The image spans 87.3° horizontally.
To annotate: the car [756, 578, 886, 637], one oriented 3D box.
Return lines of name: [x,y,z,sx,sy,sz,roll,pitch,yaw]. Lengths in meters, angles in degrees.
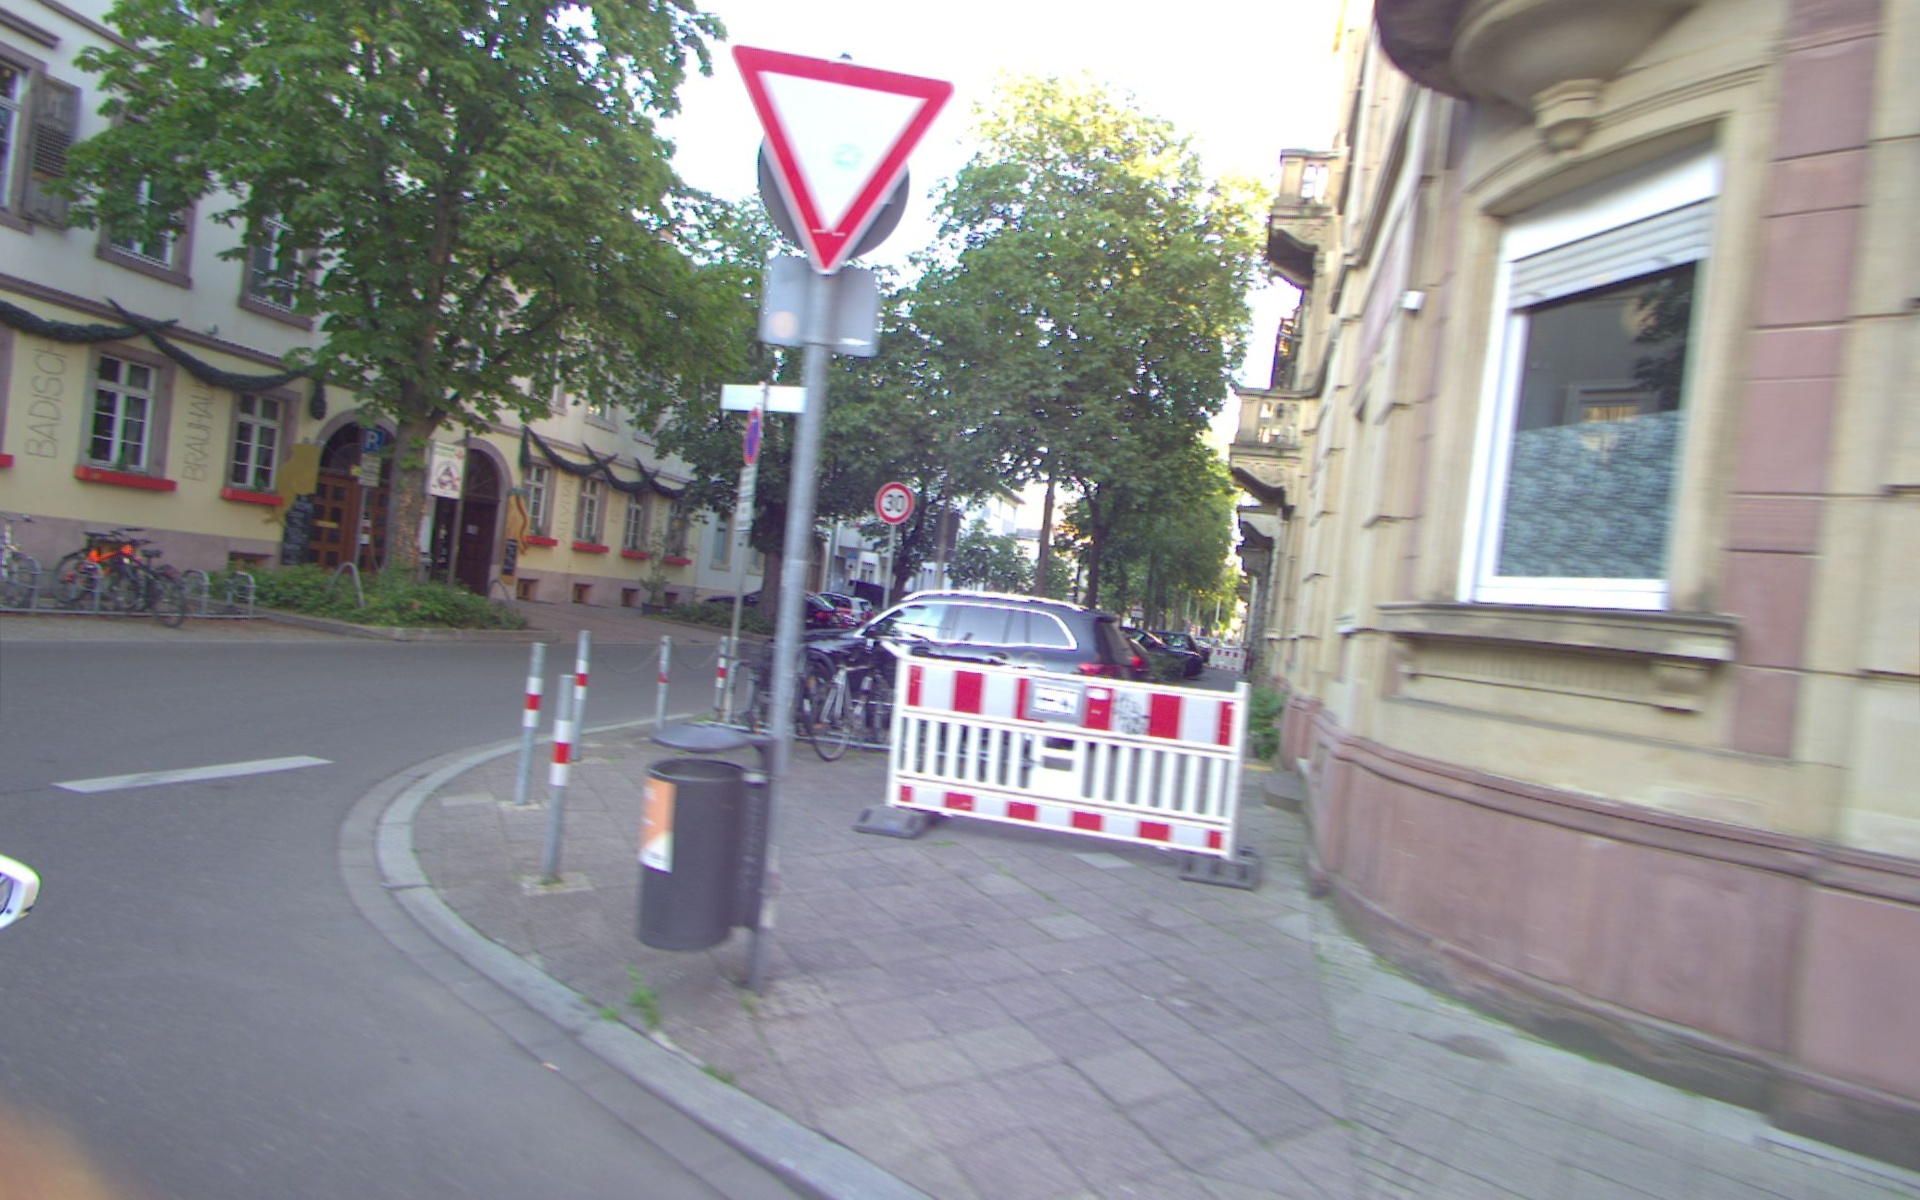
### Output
car: [-5.204,0.290,37.766,4.362,1.633,1.777,7,0,17]

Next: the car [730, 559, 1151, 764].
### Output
car: [-0.198,0.628,11.861,4.505,1.761,1.776,5,1,17]

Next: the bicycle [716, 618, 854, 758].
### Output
bicycle: [-1.528,0.734,9.091,0.358,1.103,1.870,5,1,16]

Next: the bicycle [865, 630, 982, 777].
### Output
bicycle: [-0.270,0.828,8.730,0.358,1.103,1.870,5,1,16]

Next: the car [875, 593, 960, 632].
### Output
car: [-2.448,0.722,57.854,4.362,1.633,1.777,7,0,17]

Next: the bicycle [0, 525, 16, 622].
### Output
bicycle: [-11.135,-0.403,10.788,2.003,1.016,0.421,7,1,15]

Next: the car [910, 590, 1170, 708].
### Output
car: [1.500,0.867,18.564,4.362,1.506,1.777,7,0,17]

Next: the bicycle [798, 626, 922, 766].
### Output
bicycle: [-0.849,0.799,9.056,0.358,1.103,1.870,5,1,16]

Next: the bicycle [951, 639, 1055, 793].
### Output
bicycle: [0.409,0.912,8.529,0.358,1.103,1.870,5,1,16]

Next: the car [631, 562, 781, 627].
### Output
car: [-8.345,-0.182,33.101,4.362,1.524,1.777,7,0,17]

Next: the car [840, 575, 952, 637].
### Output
car: [-2.824,0.291,44.478,4.362,2.149,1.777,7,0,17]

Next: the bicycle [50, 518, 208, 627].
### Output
bicycle: [-10.768,-0.359,13.034,2.003,1.160,0.421,7,1,15]

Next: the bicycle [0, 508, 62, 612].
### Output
bicycle: [-11.988,-0.567,12.286,2.003,1.160,0.421,7,1,15]
